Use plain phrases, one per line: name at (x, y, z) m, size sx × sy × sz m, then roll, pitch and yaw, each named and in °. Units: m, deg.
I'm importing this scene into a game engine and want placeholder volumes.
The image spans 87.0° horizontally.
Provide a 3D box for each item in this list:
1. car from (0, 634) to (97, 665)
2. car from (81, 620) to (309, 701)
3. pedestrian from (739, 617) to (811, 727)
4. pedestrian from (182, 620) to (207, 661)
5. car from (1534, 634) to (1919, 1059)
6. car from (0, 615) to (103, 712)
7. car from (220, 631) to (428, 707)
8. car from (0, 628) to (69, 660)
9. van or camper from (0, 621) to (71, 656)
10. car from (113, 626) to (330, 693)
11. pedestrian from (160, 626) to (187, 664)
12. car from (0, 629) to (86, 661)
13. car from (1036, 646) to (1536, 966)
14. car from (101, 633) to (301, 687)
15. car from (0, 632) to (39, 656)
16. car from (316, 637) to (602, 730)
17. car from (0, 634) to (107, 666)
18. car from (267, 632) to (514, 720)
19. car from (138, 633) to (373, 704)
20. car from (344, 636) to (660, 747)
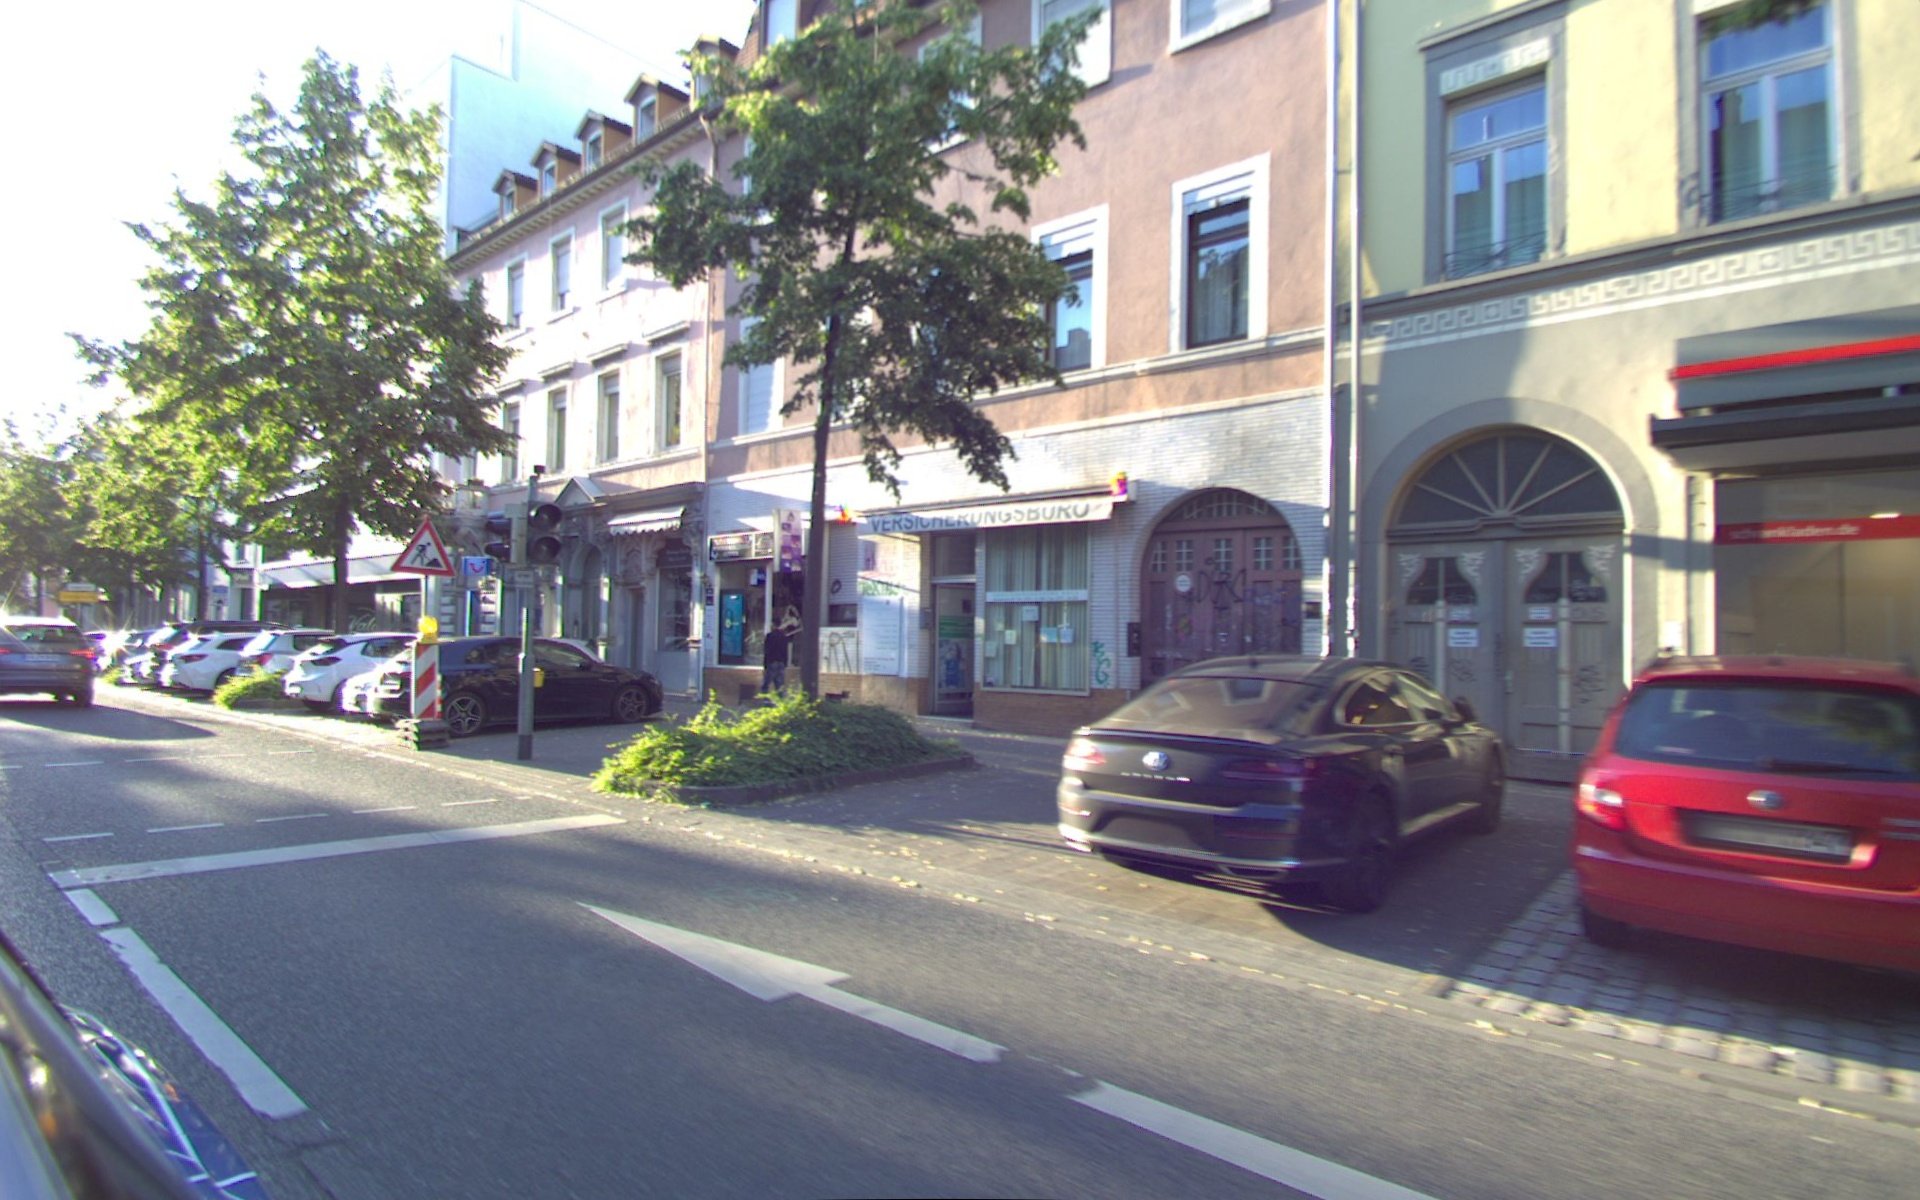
car at (-44.902, 2.383, 49.373) m, size 1.742 × 1.397 × 4.002 m, roll -2°, pitch -2°, yaw 38°
car at (-18.508, 1.391, 24.643) m, size 1.888 × 1.786 × 4.108 m, roll -1°, pitch -2°, yaw 39°
pedestrian at (-3.043, 1.154, 16.646) m, size 0.875 × 1.734 × 0.763 m, roll 0°, pitch -1°, yaw 42°
pedestrian at (-33.707, 1.764, 44.576) m, size 0.933 × 1.763 × 0.711 m, roll -2°, pitch -1°, yaw 42°
car at (4.673, 0.980, 5.537) m, size 1.883 × 1.548 × 4.030 m, roll -2°, pitch -2°, yaw 41°
car at (-18.368, 1.178, 19.730) m, size 4.458 × 1.705 × 1.842 m, roll -1°, pitch -3°, yaw 41°
car at (-13.901, 1.440, 22.239) m, size 1.714 × 1.513 × 3.520 m, roll -2°, pitch -2°, yaw 40°
car at (-51.831, 2.420, 55.609) m, size 1.733 × 1.681 × 4.137 m, roll -1°, pitch -2°, yaw 43°
van or camper at (-53.823, 2.187, 57.791) m, size 1.789 × 1.971 × 4.410 m, roll -2°, pitch -3°, yaw 43°
car at (-19.604, 1.527, 27.016) m, size 1.888 × 1.608 × 4.361 m, roll -2°, pitch -2°, yaw 40°
pedestrian at (-34.250, 1.938, 44.076) m, size 1.094 × 1.614 × 0.711 m, roll -2°, pitch -1°, yaw 42°
car at (-47.899, 2.285, 52.279) m, size 4.133 × 1.548 × 1.746 m, roll 1°, pitch -1°, yaw -43°
car at (2.587, 1.083, 7.159) m, size 1.820 × 1.418 × 4.524 m, roll -2°, pitch -2°, yaw 40°
car at (-22.541, 1.739, 30.216) m, size 1.743 × 1.495 × 4.500 m, roll -2°, pitch -3°, yaw 41°
car at (-61.788, 2.795, 64.522) m, size 1.813 × 1.536 × 4.382 m, roll -2°, pitch -2°, yaw 40°
car at (-8.562, 1.356, 17.561) m, size 1.843 × 1.414 × 4.052 m, roll -2°, pitch -3°, yaw 43°
car at (-43.096, 2.330, 47.959) m, size 1.742 × 1.468 × 3.828 m, roll -2°, pitch -3°, yaw 39°
car at (-10.715, 1.355, 19.238) m, size 1.804 × 1.455 × 3.701 m, roll -1°, pitch -2°, yaw 39°
car at (-16.069, 1.507, 23.266) m, size 1.765 × 1.432 × 4.108 m, roll -1°, pitch -2°, yaw 39°
car at (-6.914, 1.289, 15.628) m, size 1.882 × 1.414 × 4.066 m, roll -2°, pitch -2°, yaw 39°
